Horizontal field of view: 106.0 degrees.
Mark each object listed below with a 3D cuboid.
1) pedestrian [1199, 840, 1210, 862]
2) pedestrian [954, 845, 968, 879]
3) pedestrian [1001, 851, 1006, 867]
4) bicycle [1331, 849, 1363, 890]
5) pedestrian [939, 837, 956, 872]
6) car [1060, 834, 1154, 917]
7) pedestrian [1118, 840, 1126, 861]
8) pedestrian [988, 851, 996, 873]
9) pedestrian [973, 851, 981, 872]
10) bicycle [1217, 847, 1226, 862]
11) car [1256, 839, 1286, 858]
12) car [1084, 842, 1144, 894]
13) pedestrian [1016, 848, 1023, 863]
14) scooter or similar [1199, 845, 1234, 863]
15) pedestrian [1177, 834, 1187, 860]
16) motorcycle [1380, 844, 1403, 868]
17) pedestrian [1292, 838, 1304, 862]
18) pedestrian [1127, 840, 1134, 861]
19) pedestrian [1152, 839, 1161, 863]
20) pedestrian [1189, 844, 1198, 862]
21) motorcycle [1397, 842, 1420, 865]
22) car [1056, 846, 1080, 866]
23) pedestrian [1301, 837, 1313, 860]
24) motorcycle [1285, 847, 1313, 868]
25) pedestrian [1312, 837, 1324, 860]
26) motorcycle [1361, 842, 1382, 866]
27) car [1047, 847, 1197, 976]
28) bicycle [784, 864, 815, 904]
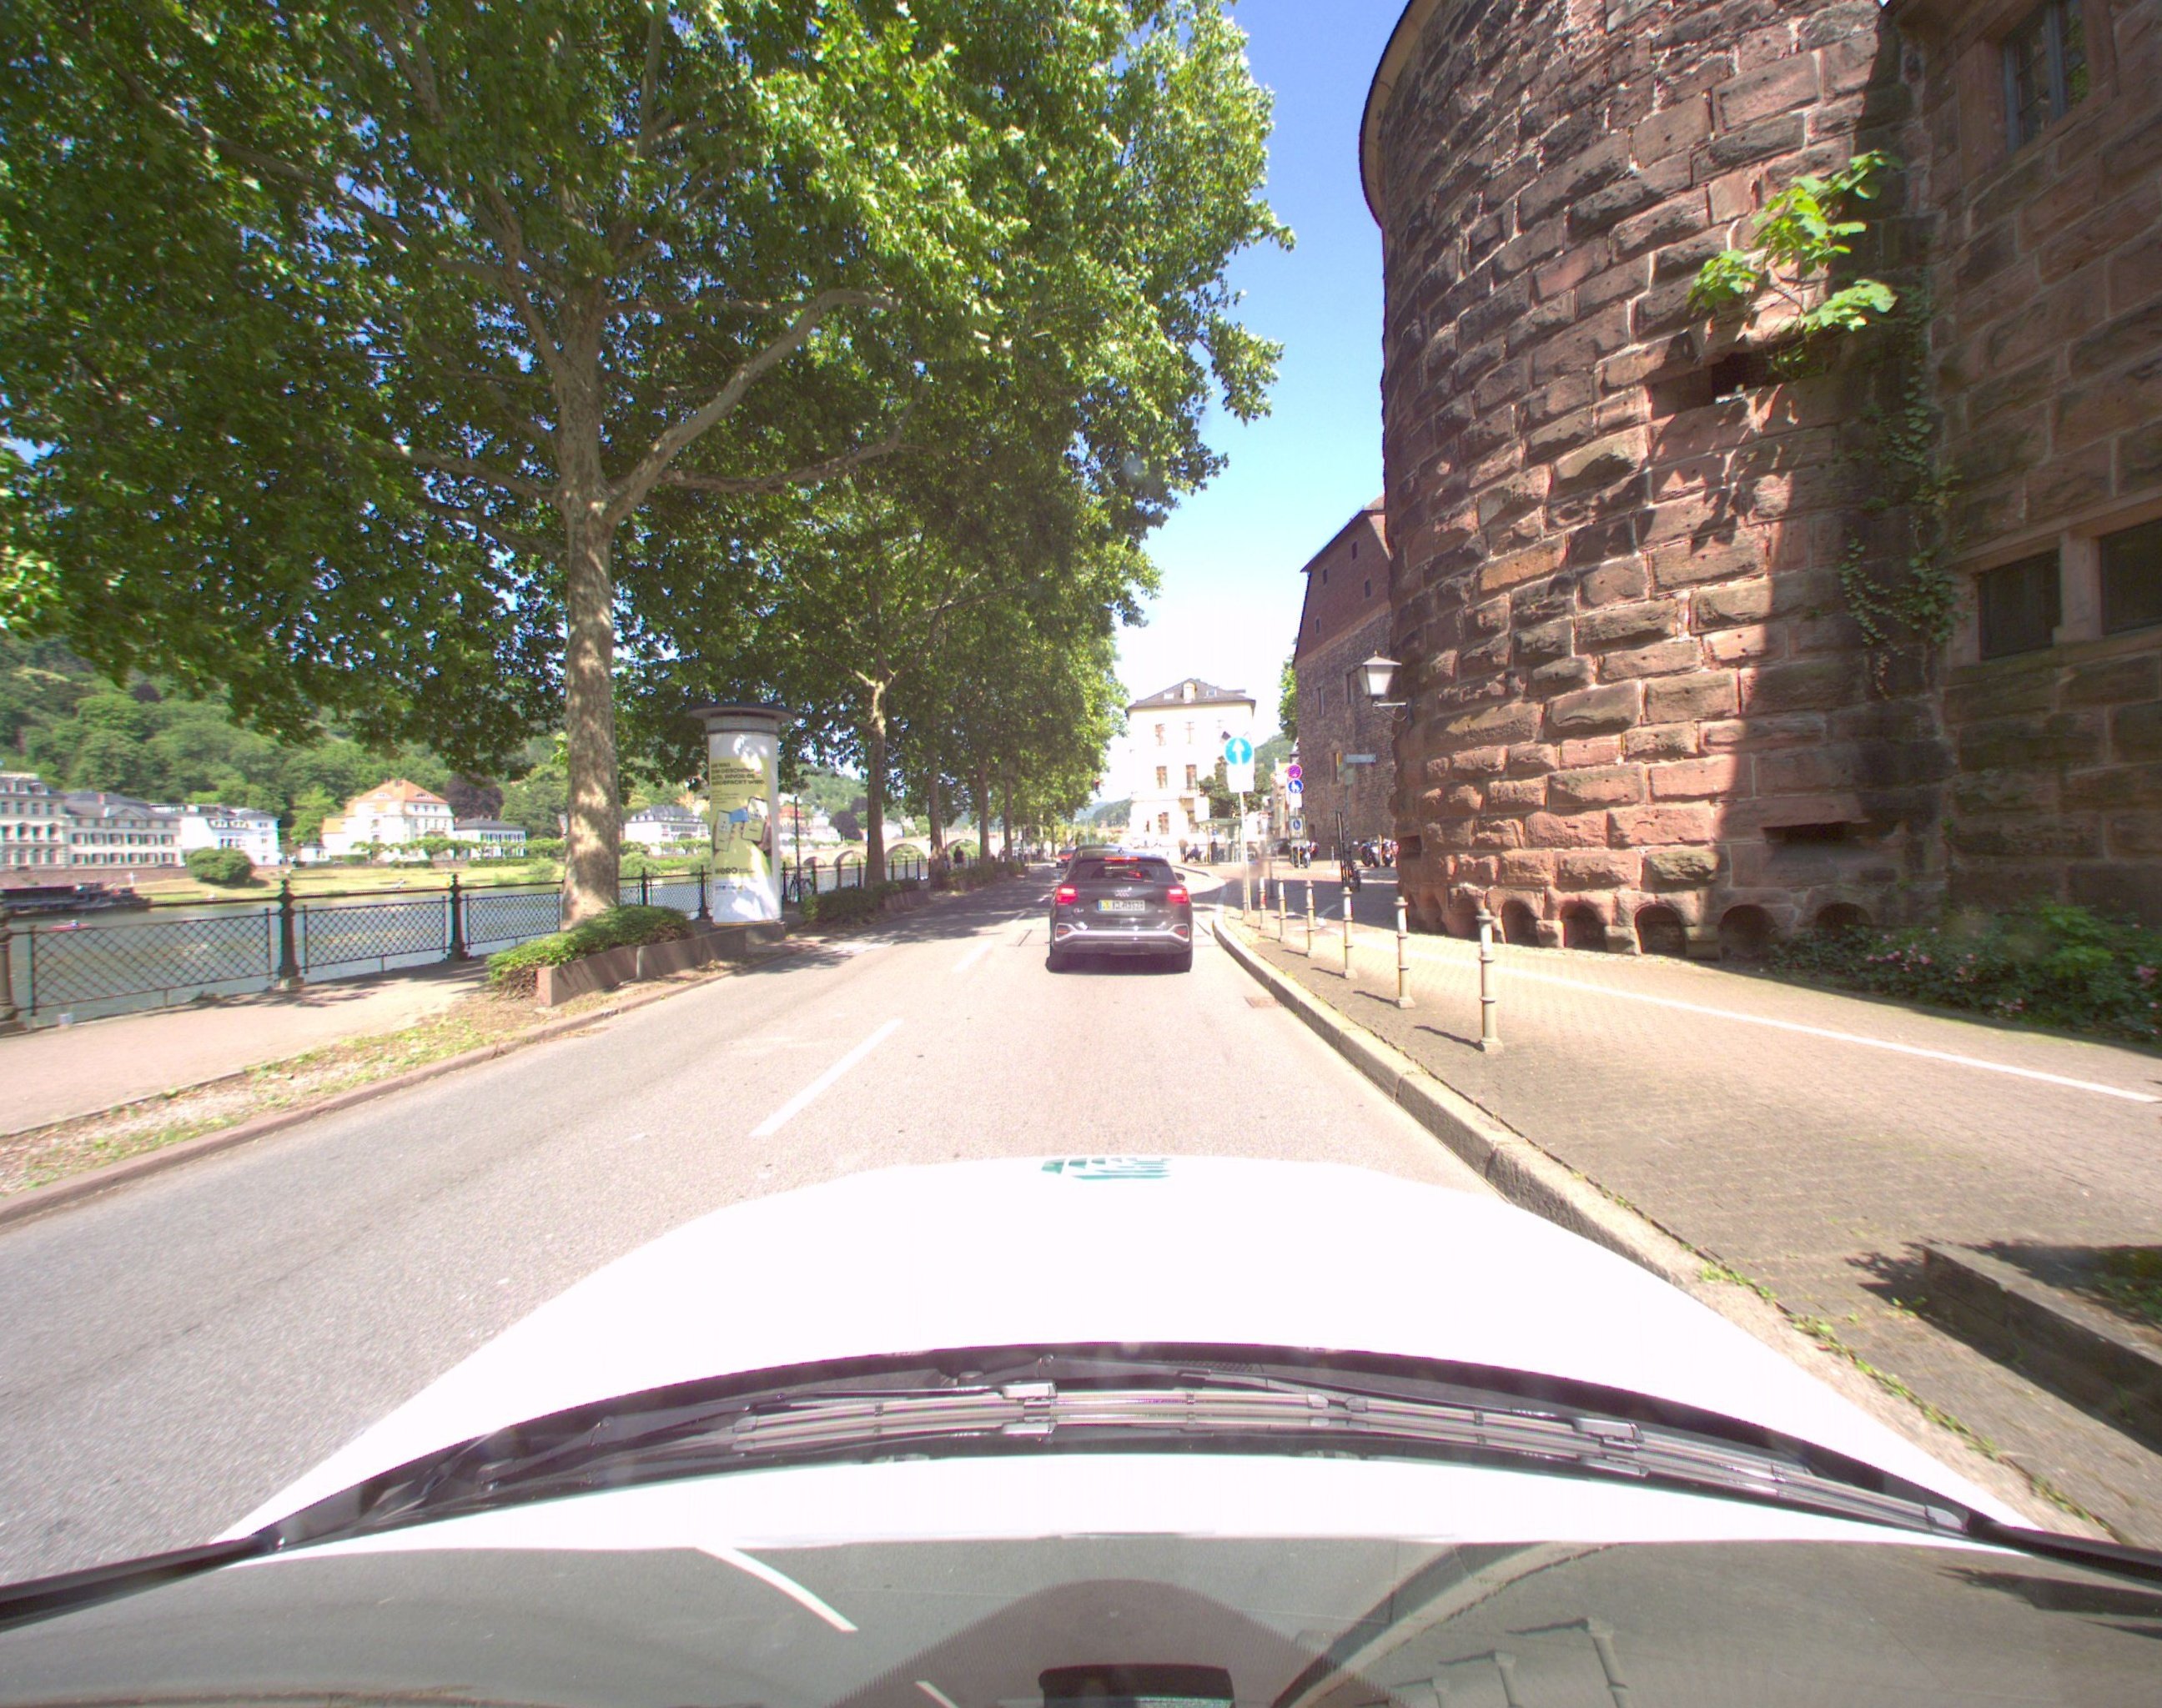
[{"bbox_3d":[8.616,-0.208,56.772,0.744,1.557,0.589,0,0,3],"label":"pedestrian"},{"bbox_3d":[-6.136,0.416,41.771,0.562,1.741,0.665,-2,0,-1],"label":"pedestrian"},{"bbox_3d":[-7.066,0.469,74.236,0.408,1.425,0.457,0,0,-2],"label":"pedestrian"},{"bbox_3d":[6.972,0.383,21.416,0.493,1.030,2.056,-1,0,10],"label":"bicycle"},{"bbox_3d":[-6.842,0.020,41.732,0.643,1.717,0.665,-4,0,-1],"label":"pedestrian"},{"bbox_3d":[0.598,0.421,18.221,1.794,1.562,3.718,-4,0,2],"label":"car"},{"bbox_3d":[3.080,-0.237,61.437,0.555,1.557,0.660,0,0,3],"label":"pedestrian"},{"bbox_3d":[-6.803,0.576,62.118,0.516,1.637,0.438,-4,0,-5],"label":"pedestrian"},{"bbox_3d":[-7.891,0.540,61.723,0.496,1.537,0.678,-4,0,-5],"label":"pedestrian"},{"bbox_3d":[9.052,0.026,52.508,0.449,0.974,1.400,0,0,2],"label":"bicycle"},{"bbox_3d":[17.905,-0.494,76.878,1.986,1.716,4.002,0,0,2],"label":"car"},{"bbox_3d":[1.095,0.416,27.199,1.794,1.523,3.718,-3,0,2],"label":"car"},{"bbox_3d":[-5.317,0.143,70.649,0.588,1.278,0.525,0,0,2],"label":"pedestrian"},{"bbox_3d":[7.342,0.003,44.302,1.838,0.963,0.429,0,0,1],"label":"scooter or similar"},{"bbox_3d":[6.475,-0.442,52.159,0.555,1.633,0.660,0,0,3],"label":"pedestrian"},{"bbox_3d":[12.954,0.069,34.039,0.456,0.973,1.467,0,0,2],"label":"motorcycle"},{"bbox_3d":[13.536,-0.224,50.772,0.655,1.493,0.548,0,0,3],"label":"pedestrian"},{"bbox_3d":[3.689,-0.233,60.831,0.555,1.557,0.660,0,0,3],"label":"pedestrian"},{"bbox_3d":[5.083,-0.195,54.861,0.555,1.557,0.660,0,0,3],"label":"pedestrian"},{"bbox_3d":[7.297,-0.076,52.741,0.544,1.201,0.523,0,0,3],"label":"pedestrian"},{"bbox_3d":[13.941,-0.020,34.709,0.456,0.973,1.467,0,0,2],"label":"motorcycle"},{"bbox_3d":[-1.074,0.175,67.296,1.608,1.523,3.480,-4,0,4],"label":"car"},{"bbox_3d":[15.038,-0.386,54.194,0.655,1.517,0.548,0,0,3],"label":"pedestrian"},{"bbox_3d":[9.294,0.136,34.775,0.482,0.818,2.278,-4,0,-1],"label":"motorcycle"},{"bbox_3d":[15.747,-0.384,54.173,0.655,1.517,0.627,0,0,3],"label":"pedestrian"},{"bbox_3d":[12.250,-0.003,34.365,0.434,0.973,1.359,0,0,2],"label":"motorcycle"},{"bbox_3d":[0.509,0.651,11.285,1.742,1.494,3.629,0,0,1],"label":"car"},{"bbox_3d":[-8.704,0.918,25.227,0.356,1.162,1.825,0,0,-1],"label":"bicycle"}]
